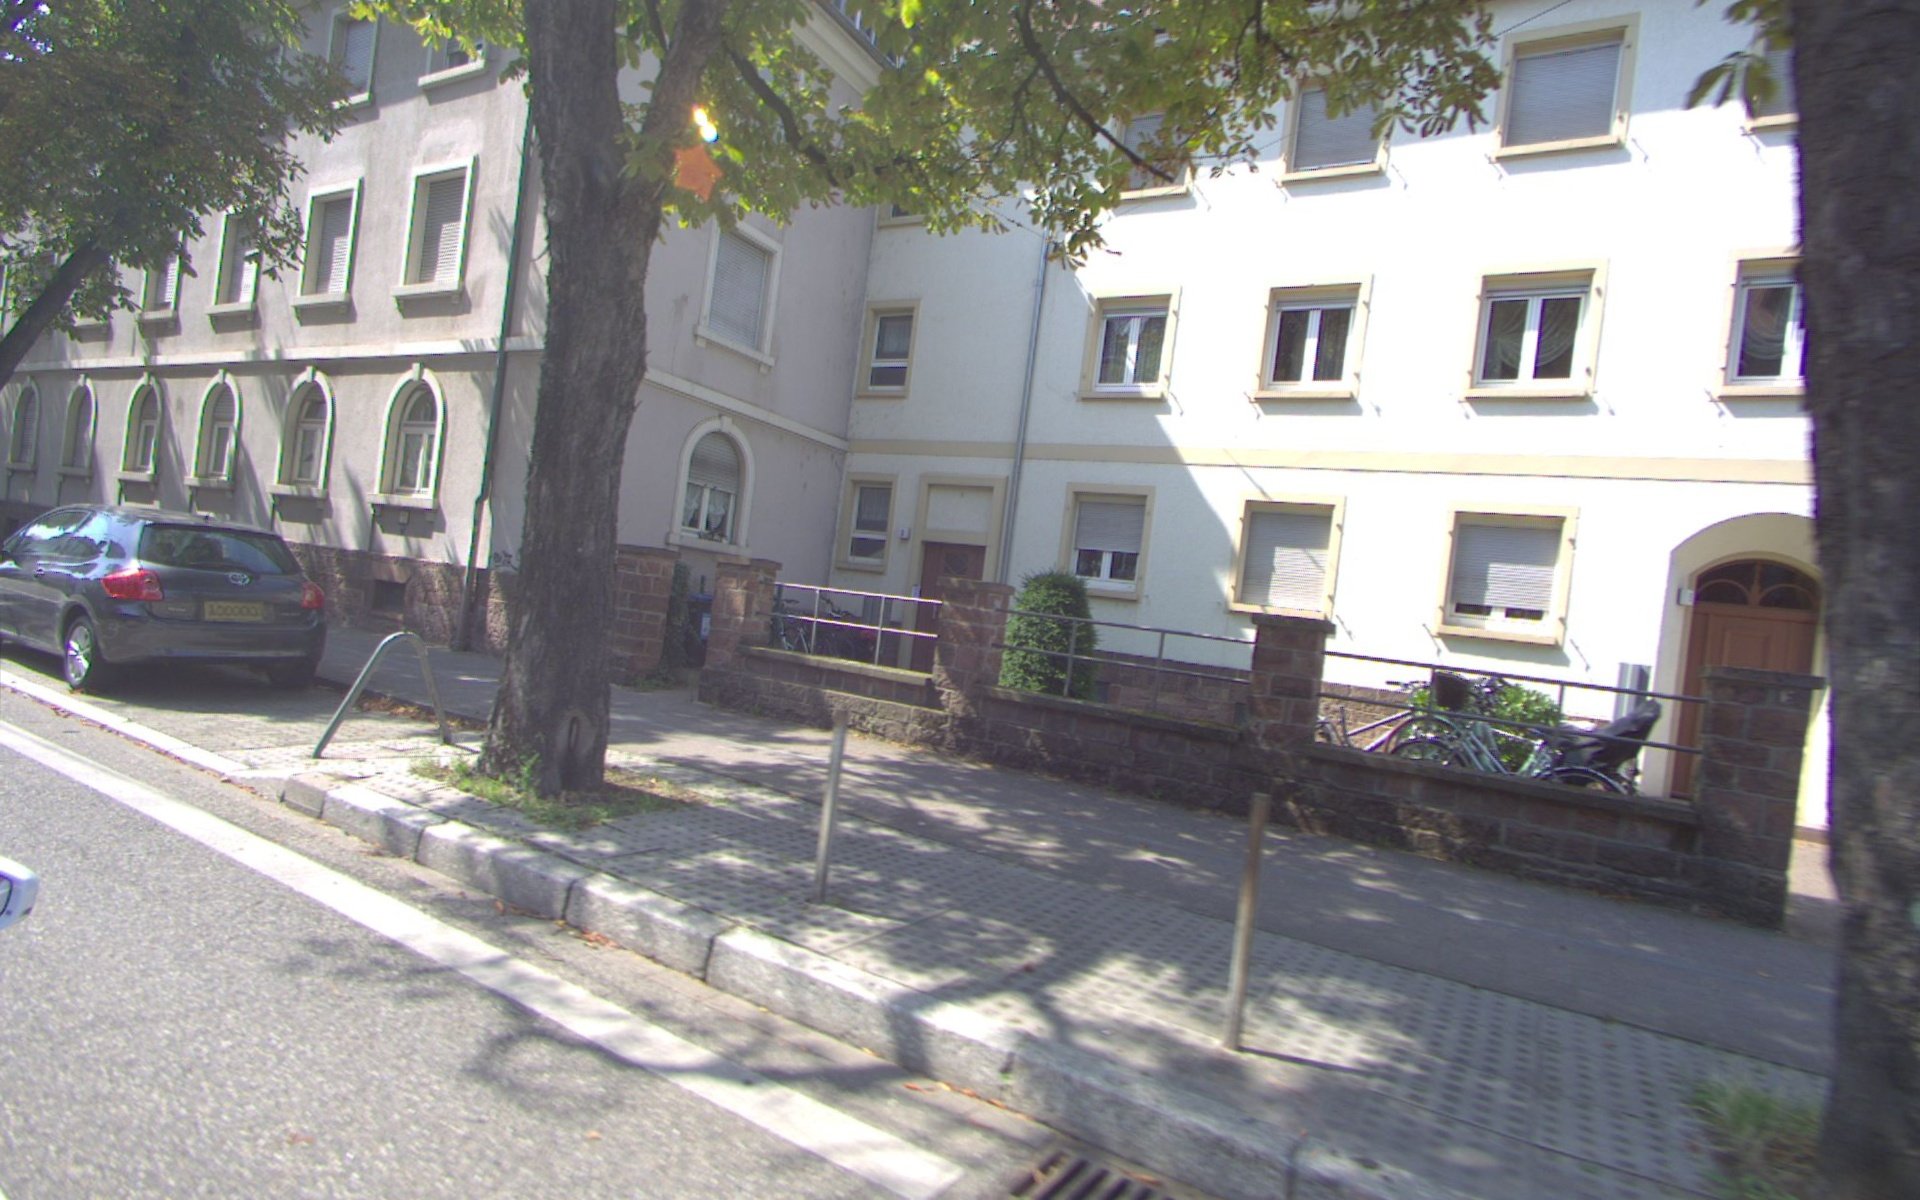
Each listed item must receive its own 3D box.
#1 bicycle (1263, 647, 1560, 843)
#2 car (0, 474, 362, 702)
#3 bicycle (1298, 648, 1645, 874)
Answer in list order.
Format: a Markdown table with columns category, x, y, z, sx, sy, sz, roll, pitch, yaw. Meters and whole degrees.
| category | x | y | z | sx | sy | sz | roll | pitch | yaw |
| --- | --- | --- | --- | --- | --- | --- | --- | --- | --- |
| bicycle | 4.151 | 1.280 | 9.376 | 2.330 | 1.375 | 0.594 | 7 | 0 | 34 |
| car | -7.748 | -0.189 | 9.460 | 4.045 | 1.551 | 1.843 | 9 | 1 | 31 |
| bicycle | 4.107 | 1.230 | 8.233 | 2.330 | 1.375 | 0.594 | 7 | 0 | 34 |
